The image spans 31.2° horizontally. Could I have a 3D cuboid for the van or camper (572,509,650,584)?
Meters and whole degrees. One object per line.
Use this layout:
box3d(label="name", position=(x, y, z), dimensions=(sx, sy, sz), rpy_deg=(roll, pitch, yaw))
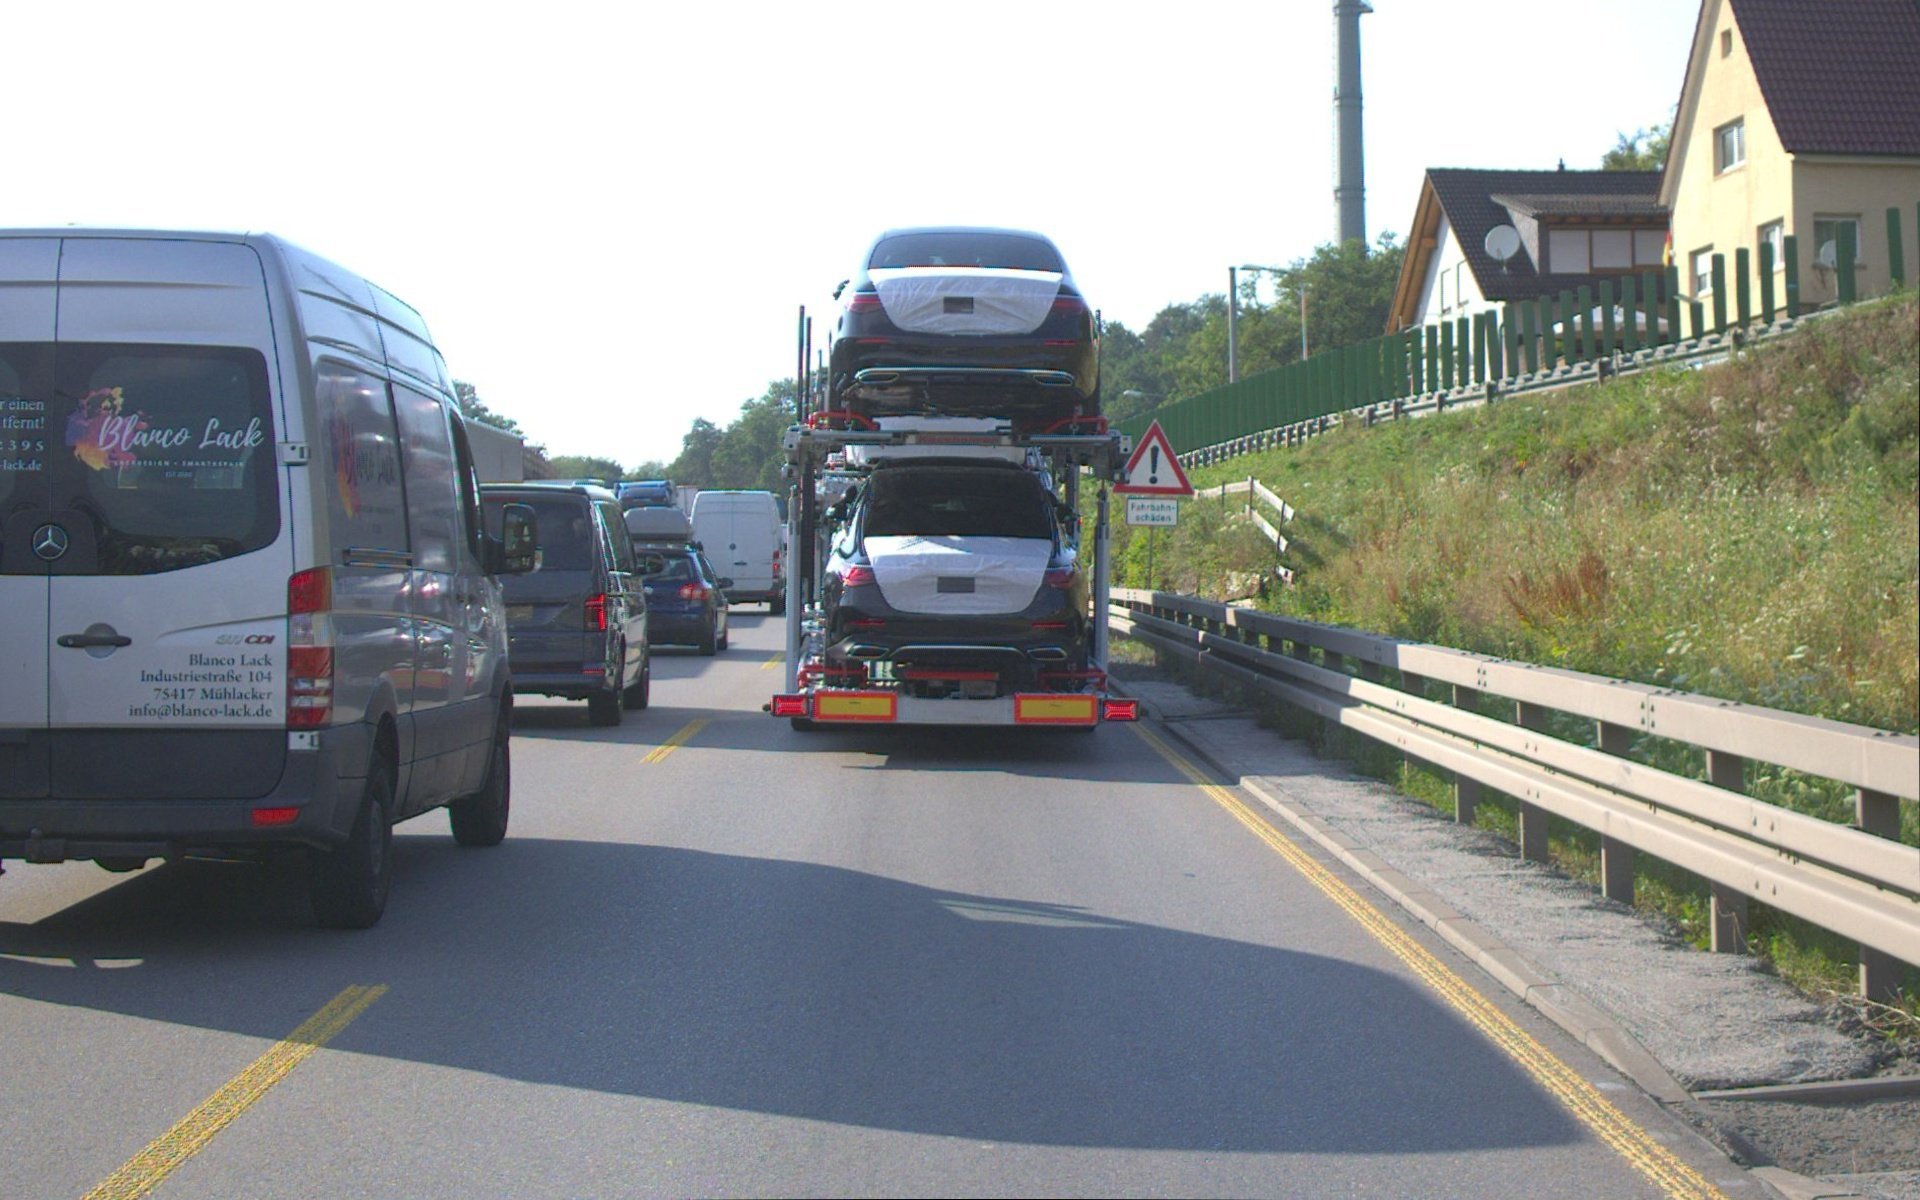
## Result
box3d(label="van or camper", position=(-12.918, -2.006, 127.695), dimensions=(2.312, 2.653, 6.455), rpy_deg=(-2, 1, -1))

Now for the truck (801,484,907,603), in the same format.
box3d(label="truck", position=(-4.235, -2.287, 140.060), dimensions=(4.065, 4.663, 10.592), rpy_deg=(0, 1, 0))

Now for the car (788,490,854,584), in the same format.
box3d(label="car", position=(-7.715, -3.471, 189.172), dimensions=(3.444, 5.018, 9.654), rpy_deg=(1, 1, -3))

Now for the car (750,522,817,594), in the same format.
box3d(label="car", position=(-5.254, -1.259, 102.569), dimensions=(1.885, 2.093, 3.766), rpy_deg=(1, 1, -1))

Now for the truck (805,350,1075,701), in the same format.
box3d(label="truck", position=(-0.245, -0.773, 38.383), dimensions=(2.682, 3.522, 7.194), rpy_deg=(1, 0, -1))

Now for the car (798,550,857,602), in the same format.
box3d(label="car", position=(-4.764, -0.880, 124.293), dimensions=(1.993, 1.853, 4.000), rpy_deg=(0, 1, 0))

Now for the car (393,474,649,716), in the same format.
box3d(label="car", position=(-3.665, -0.034, 29.293), dimensions=(1.808, 1.897, 4.000), rpy_deg=(1, 0, -2))

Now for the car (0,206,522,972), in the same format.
box3d(label="car", position=(-3.186, -0.089, 14.653), dimensions=(1.993, 2.639, 5.531), rpy_deg=(0, 1, -1))

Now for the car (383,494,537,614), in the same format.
box3d(label="car", position=(-7.232, -0.641, 50.078), dimensions=(1.640, 1.639, 4.689), rpy_deg=(1, 0, -1))

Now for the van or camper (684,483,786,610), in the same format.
box3d(label="van or camper", position=(-4.759, -1.107, 73.366), dimensions=(1.968, 2.583, 5.042), rpy_deg=(1, 0, -2))

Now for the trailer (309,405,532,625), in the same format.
box3d(label="trailer", position=(-11.296, -1.668, 73.391), dimensions=(2.913, 4.225, 13.770), rpy_deg=(1, 0, -2))

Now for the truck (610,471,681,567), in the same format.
box3d(label="truck", position=(-14.163, -3.662, 155.443), dimensions=(2.624, 4.098, 9.629), rpy_deg=(-3, 1, -3))

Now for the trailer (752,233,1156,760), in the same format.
box3d(label="trailer", position=(-0.135, -0.746, 30.855), dimensions=(2.682, 3.522, 15.289), rpy_deg=(1, 0, -1))

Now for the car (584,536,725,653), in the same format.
box3d(label="car", position=(-4.161, -0.108, 47.289), dimensions=(1.725, 1.517, 3.974), rpy_deg=(1, 1, -2))

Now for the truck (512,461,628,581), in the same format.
box3d(label="truck", position=(-11.790, -2.331, 104.509), dimensions=(2.714, 3.413, 8.142), rpy_deg=(-2, 0, -2))

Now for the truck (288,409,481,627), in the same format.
box3d(label="truck", position=(-11.049, -1.527, 66.488), dimensions=(2.860, 3.994, 5.658), rpy_deg=(1, 0, -1))

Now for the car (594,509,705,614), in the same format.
box3d(label="car", position=(-7.632, -0.944, 84.944), dimensions=(2.471, 2.525, 4.000), rpy_deg=(0, 1, -1))
